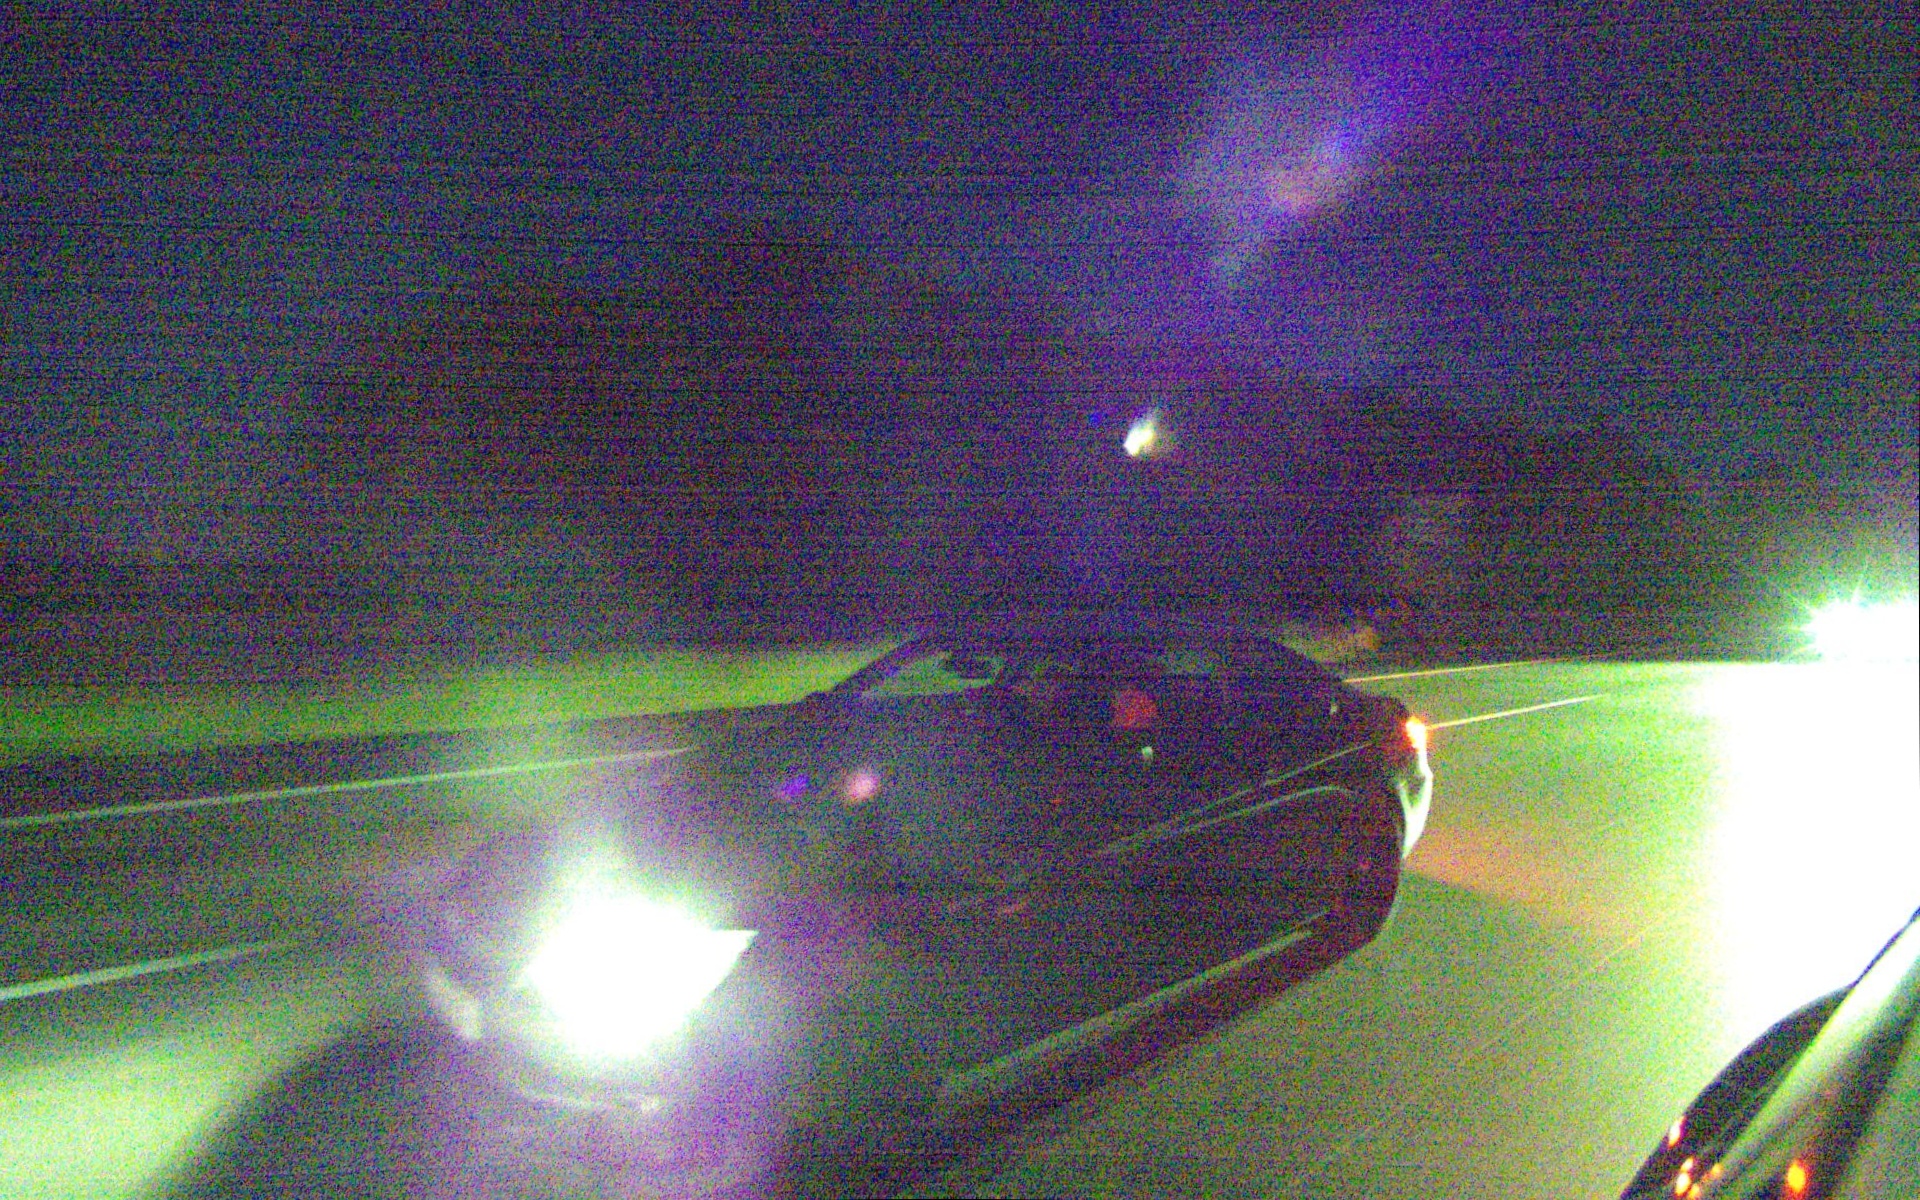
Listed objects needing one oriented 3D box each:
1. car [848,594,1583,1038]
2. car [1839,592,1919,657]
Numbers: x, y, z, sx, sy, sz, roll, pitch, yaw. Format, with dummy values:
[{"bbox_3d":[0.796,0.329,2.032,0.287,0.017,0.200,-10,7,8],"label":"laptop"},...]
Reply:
[{"bbox_3d":[1.608,0.707,5.347,4.151,1.431,1.689,0,1,-41],"label":"car"},{"bbox_3d":[24.507,0.589,26.409,4.151,1.560,1.794,0,1,-41],"label":"car"}]
